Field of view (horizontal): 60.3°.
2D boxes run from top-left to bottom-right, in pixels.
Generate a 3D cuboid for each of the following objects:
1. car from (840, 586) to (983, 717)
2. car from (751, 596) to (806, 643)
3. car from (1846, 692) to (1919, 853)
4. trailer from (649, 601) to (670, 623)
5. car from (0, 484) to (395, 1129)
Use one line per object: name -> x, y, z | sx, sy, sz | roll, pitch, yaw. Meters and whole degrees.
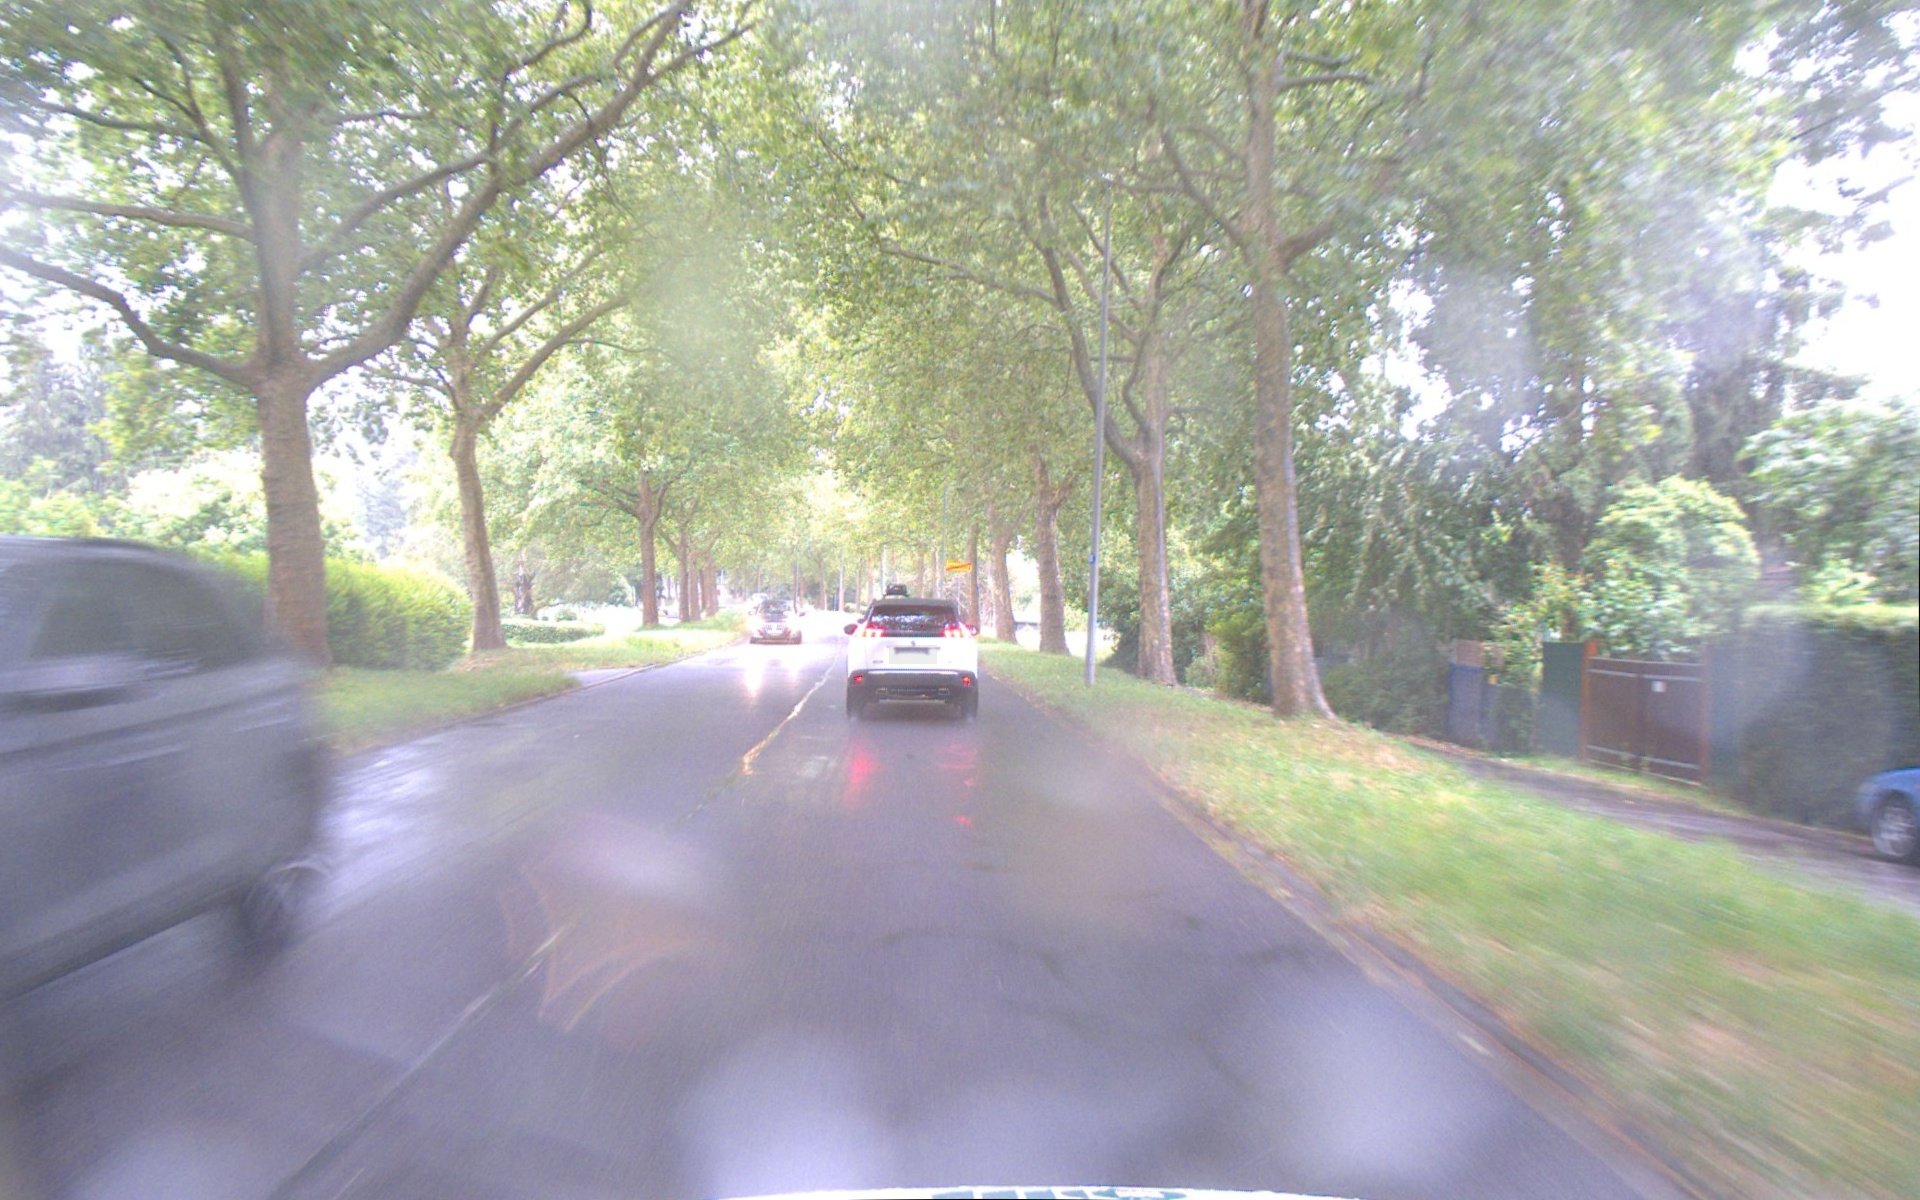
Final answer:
car -> -0.675, 0.642, 22.828 | 1.758, 1.606, 3.843 | 2, 0, -2
car -> -6.334, 0.672, 57.971 | 1.810, 1.528, 3.995 | 2, 0, -5
car -> 9.354, 1.615, 13.501 | 1.761, 1.348, 3.995 | 6, -1, -5
trailer -> -37.912, 1.525, 208.408 | 2.440, 2.612, 5.318 | 2, 0, -11
car -> -3.508, 0.541, 5.484 | 1.772, 1.758, 4.453 | 2, 0, -1
